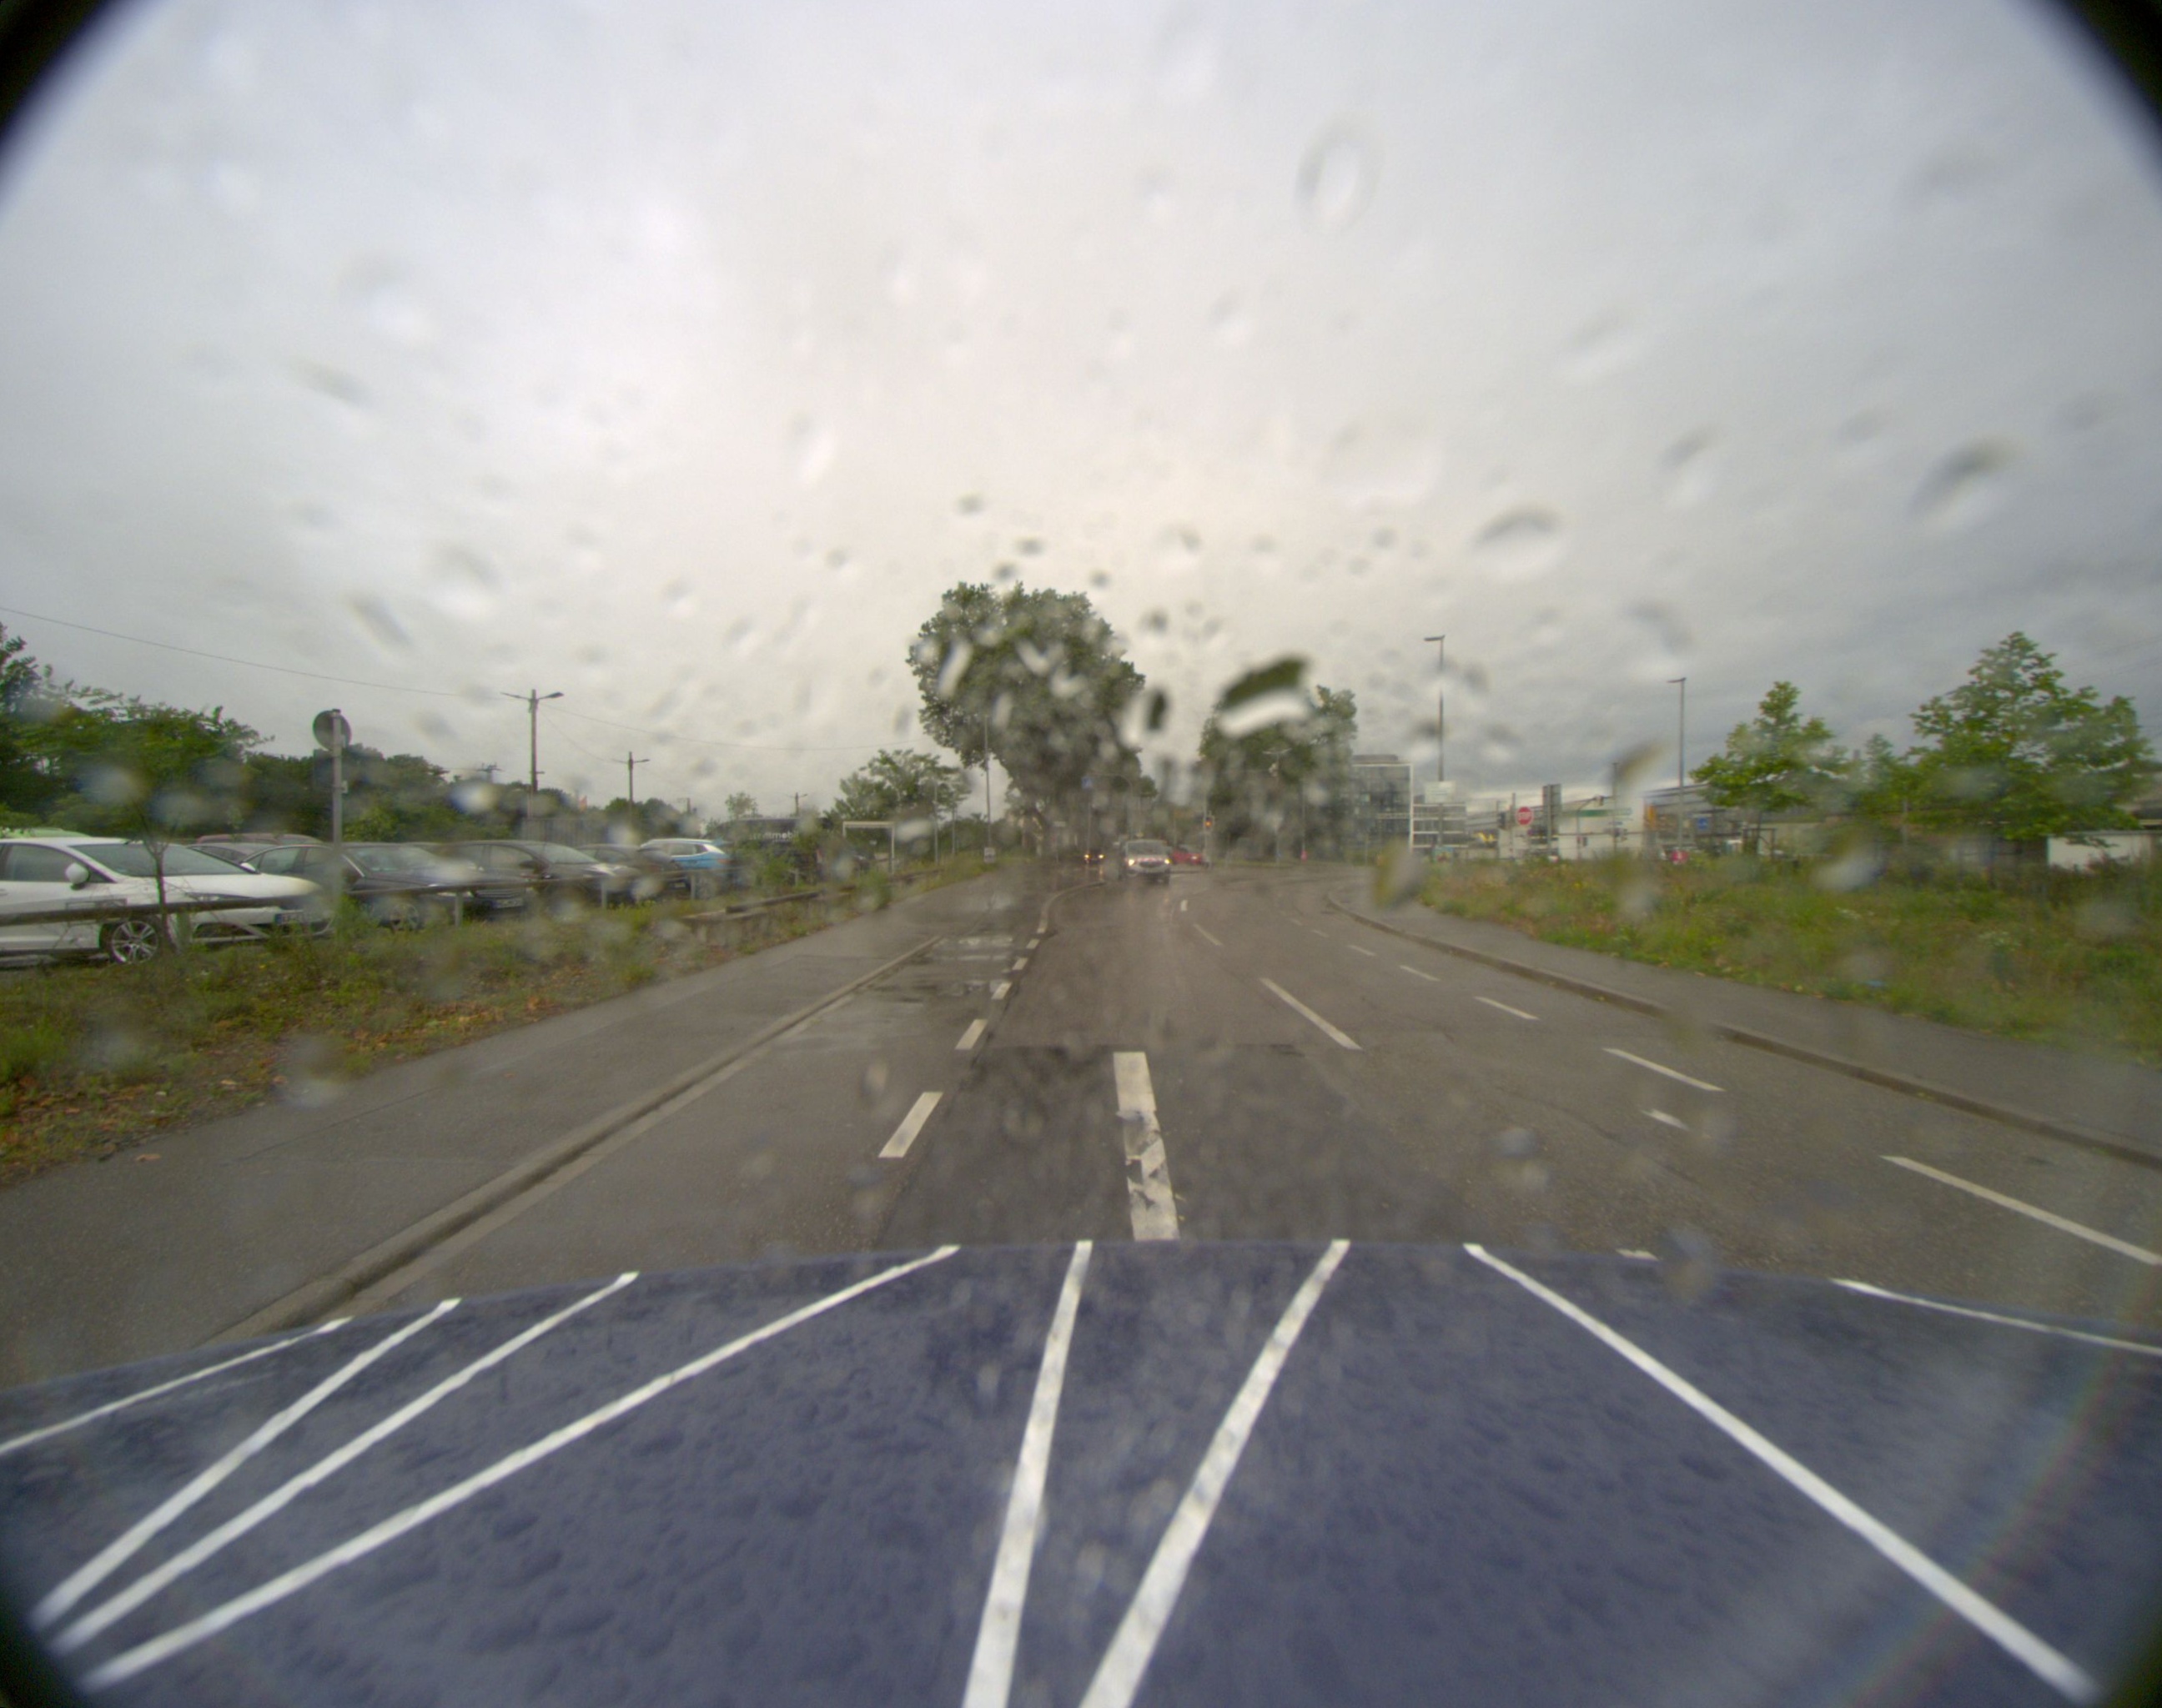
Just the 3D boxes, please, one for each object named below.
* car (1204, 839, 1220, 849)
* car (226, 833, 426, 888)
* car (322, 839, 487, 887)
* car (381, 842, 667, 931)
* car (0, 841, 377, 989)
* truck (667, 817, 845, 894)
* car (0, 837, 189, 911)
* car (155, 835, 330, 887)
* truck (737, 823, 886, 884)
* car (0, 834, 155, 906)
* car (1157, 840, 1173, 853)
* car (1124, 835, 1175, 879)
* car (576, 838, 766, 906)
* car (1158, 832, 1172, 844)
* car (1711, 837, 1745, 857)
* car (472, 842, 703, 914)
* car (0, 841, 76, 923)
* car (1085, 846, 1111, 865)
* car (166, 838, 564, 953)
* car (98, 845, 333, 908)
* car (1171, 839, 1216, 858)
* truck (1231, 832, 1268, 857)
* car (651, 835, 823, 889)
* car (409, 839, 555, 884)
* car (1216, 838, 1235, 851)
[{"bbox_3d":[22.578,-1.706,131.278,1.999,1.632,3.999,0,1,-2],"label":"car"},{"bbox_3d":[-22.261,0.154,22.509,4.074,1.482,1.926,1,2,3],"label":"car"},{"bbox_3d":[-22.101,0.264,24.928,3.961,1.472,1.707,1,2,3],"label":"car"},{"bbox_3d":[-10.195,0.550,14.148,3.906,1.415,1.778,-2,2,-1],"label":"car"},{"bbox_3d":[-10.709,0.617,8.497,3.781,1.385,1.905,-2,2,-1],"label":"car"},{"bbox_3d":[-10.898,0.031,25.807,5.046,2.389,2.109,-2,1,-1],"label":"truck"},{"bbox_3d":[-22.202,0.377,16.327,3.961,1.419,1.887,1,2,3],"label":"car"},{"bbox_3d":[-28.449,0.209,25.863,3.996,1.631,1.765,-1,1,2],"label":"car"},{"bbox_3d":[-11.063,-0.035,31.450,5.342,2.310,2.074,-2,1,1],"label":"truck"},{"bbox_3d":[-27.443,0.400,20.052,3.995,1.790,1.797,-1,1,5],"label":"car"},{"bbox_3d":[8.896,-0.766,80.085,1.643,1.346,3.776,0,1,6],"label":"car"},{"bbox_3d":[2.782,0.091,31.474,1.838,1.714,4.172,0,1,1],"label":"car"},{"bbox_3d":[-10.702,0.437,20.054,3.906,1.586,1.896,-2,2,-1],"label":"car"},{"bbox_3d":[11.840,-2.300,107.403,1.852,1.593,4.500,-1,2,6],"label":"car"},{"bbox_3d":[70.495,-0.819,82.839,1.995,2.002,4.006,-1,2,29],"label":"car"},{"bbox_3d":[-10.890,0.501,16.998,3.906,1.387,1.778,-2,2,-1],"label":"car"},{"bbox_3d":[-21.142,0.490,13.591,3.961,1.419,1.887,1,2,3],"label":"car"},{"bbox_3d":[1.436,0.108,61.631,1.742,1.438,4.001,1,1,6],"label":"car"},{"bbox_3d":[-10.228,0.539,11.137,3.906,1.415,1.905,-2,2,-1],"label":"car"},{"bbox_3d":[-21.800,0.527,19.243,3.961,1.419,1.821,1,2,3],"label":"car"},{"bbox_3d":[8.458,-0.403,57.370,1.746,1.373,3.993,-1,1,-19],"label":"car"},{"bbox_3d":[18.027,-1.061,81.814,2.090,2.604,6.974,0,1,-3],"label":"truck"},{"bbox_3d":[-10.078,0.204,22.521,4.170,1.412,1.862,-2,2,-2],"label":"car"},{"bbox_3d":[-21.935,0.247,27.924,3.961,1.529,1.807,1,2,3],"label":"car"},{"bbox_3d":[18.181,-1.204,95.668,1.649,1.443,3.531,0,-1,-2],"label":"car"}]
